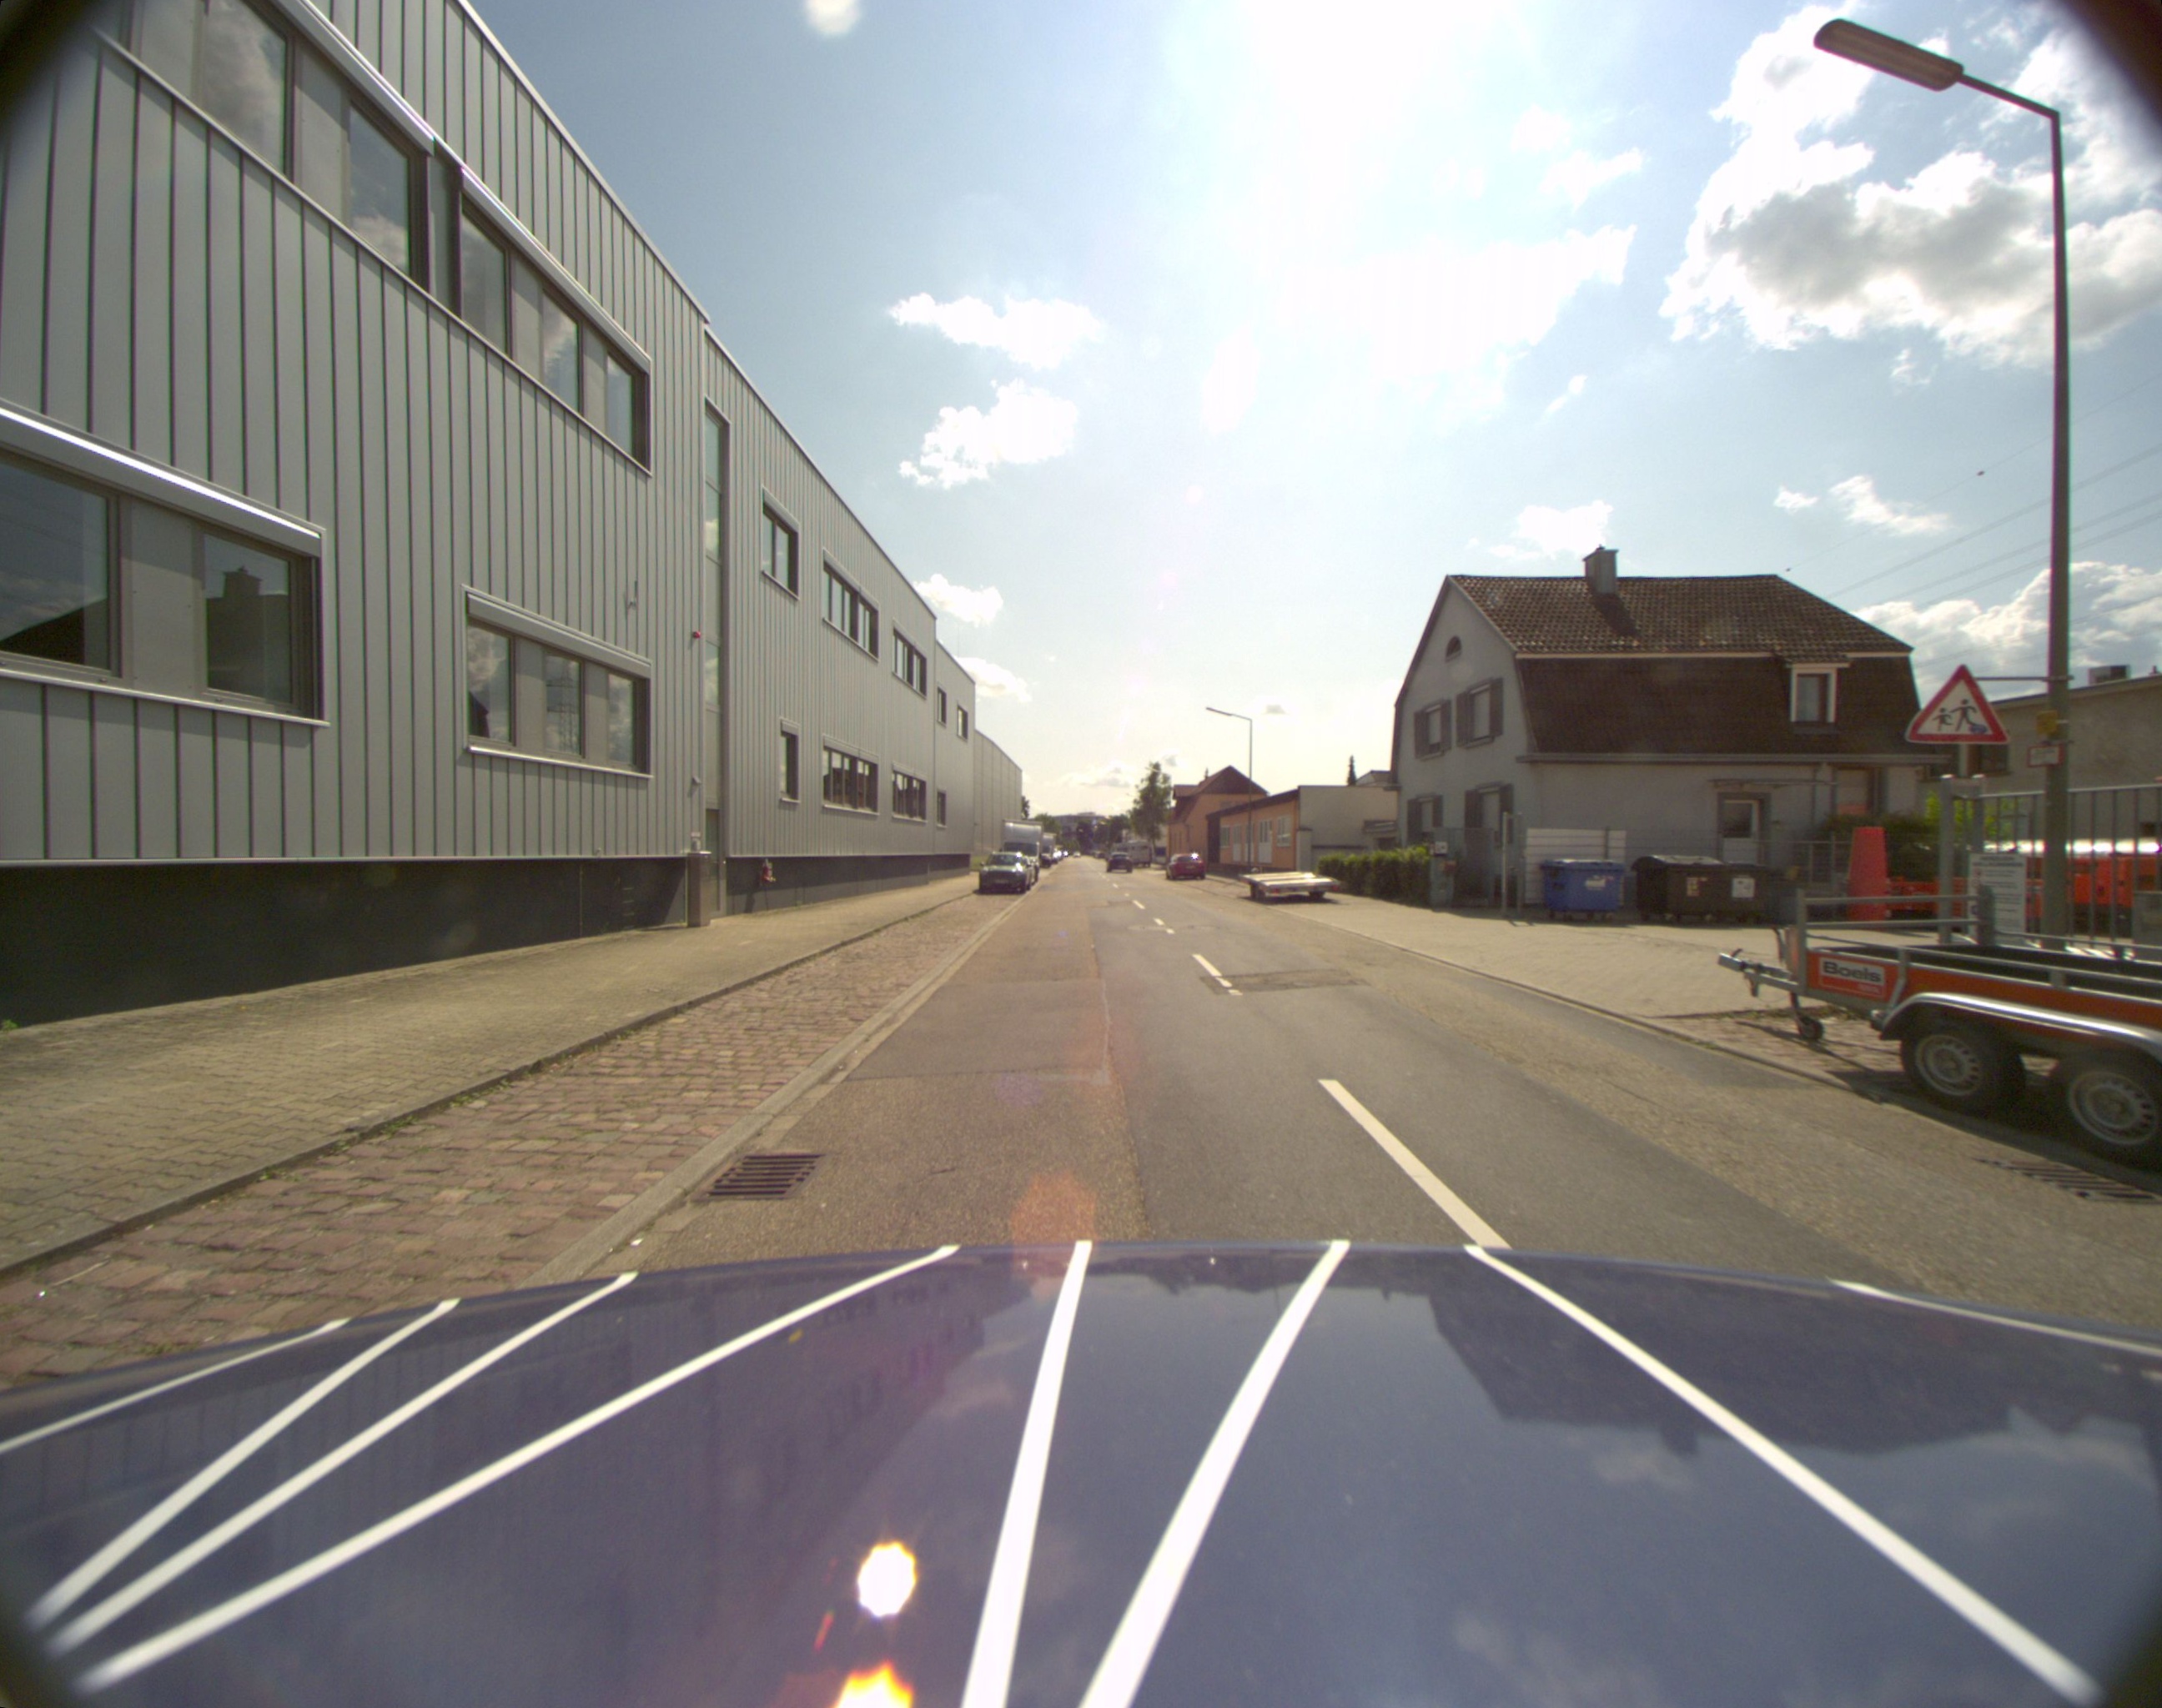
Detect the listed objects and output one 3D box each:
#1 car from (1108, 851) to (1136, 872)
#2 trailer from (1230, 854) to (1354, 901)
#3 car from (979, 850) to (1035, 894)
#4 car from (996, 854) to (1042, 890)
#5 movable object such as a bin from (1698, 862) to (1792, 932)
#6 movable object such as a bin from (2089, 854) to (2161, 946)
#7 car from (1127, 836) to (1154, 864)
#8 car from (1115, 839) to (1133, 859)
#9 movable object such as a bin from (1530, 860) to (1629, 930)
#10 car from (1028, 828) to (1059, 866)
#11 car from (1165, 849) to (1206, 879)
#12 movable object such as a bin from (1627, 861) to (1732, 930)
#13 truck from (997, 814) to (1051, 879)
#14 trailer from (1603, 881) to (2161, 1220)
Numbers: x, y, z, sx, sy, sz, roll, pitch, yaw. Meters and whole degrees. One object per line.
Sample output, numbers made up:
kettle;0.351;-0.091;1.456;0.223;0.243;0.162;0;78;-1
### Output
car;2.964;0.514;55.497;1.739;1.434;3.999;1;1;-1
trailer;6.634;0.682;24.759;2.457;1.157;6.052;-2;1;1
car;-2.823;0.638;29.774;1.714;1.502;4.114;-3;1;0
car;-2.877;0.813;36.032;1.714;1.425;4.256;-3;1;0
movable object such as a bin;14.230;0.901;16.320;1.089;1.435;1.004;0;1;-1
movable object such as a bin;22.280;0.872;14.584;3.998;1.718;1.465;0;1;-2
car;5.790;-0.401;74.937;2.079;2.527;5.823;-3;1;0
car;5.682;-0.673;101.841;1.998;2.556;5.823;-3;1;0
movable object such as a bin;10.701;0.851;16.374;1.319;1.419;1.188;0;1;-3
car;-3.562;-0.694;73.736;2.418;3.270;6.896;6;1;0
car;5.905;0.523;43.407;1.714;1.459;4.629;-3;1;1
movable object such as a bin;12.855;0.867;16.368;1.319;1.419;1.151;0;1;-3
truck;-3.144;-0.442;43.082;2.607;3.207;8.074;-3;1;-3
trailer;6.081;1.026;5.069;1.772;1.368;5.050;-2;1;1
